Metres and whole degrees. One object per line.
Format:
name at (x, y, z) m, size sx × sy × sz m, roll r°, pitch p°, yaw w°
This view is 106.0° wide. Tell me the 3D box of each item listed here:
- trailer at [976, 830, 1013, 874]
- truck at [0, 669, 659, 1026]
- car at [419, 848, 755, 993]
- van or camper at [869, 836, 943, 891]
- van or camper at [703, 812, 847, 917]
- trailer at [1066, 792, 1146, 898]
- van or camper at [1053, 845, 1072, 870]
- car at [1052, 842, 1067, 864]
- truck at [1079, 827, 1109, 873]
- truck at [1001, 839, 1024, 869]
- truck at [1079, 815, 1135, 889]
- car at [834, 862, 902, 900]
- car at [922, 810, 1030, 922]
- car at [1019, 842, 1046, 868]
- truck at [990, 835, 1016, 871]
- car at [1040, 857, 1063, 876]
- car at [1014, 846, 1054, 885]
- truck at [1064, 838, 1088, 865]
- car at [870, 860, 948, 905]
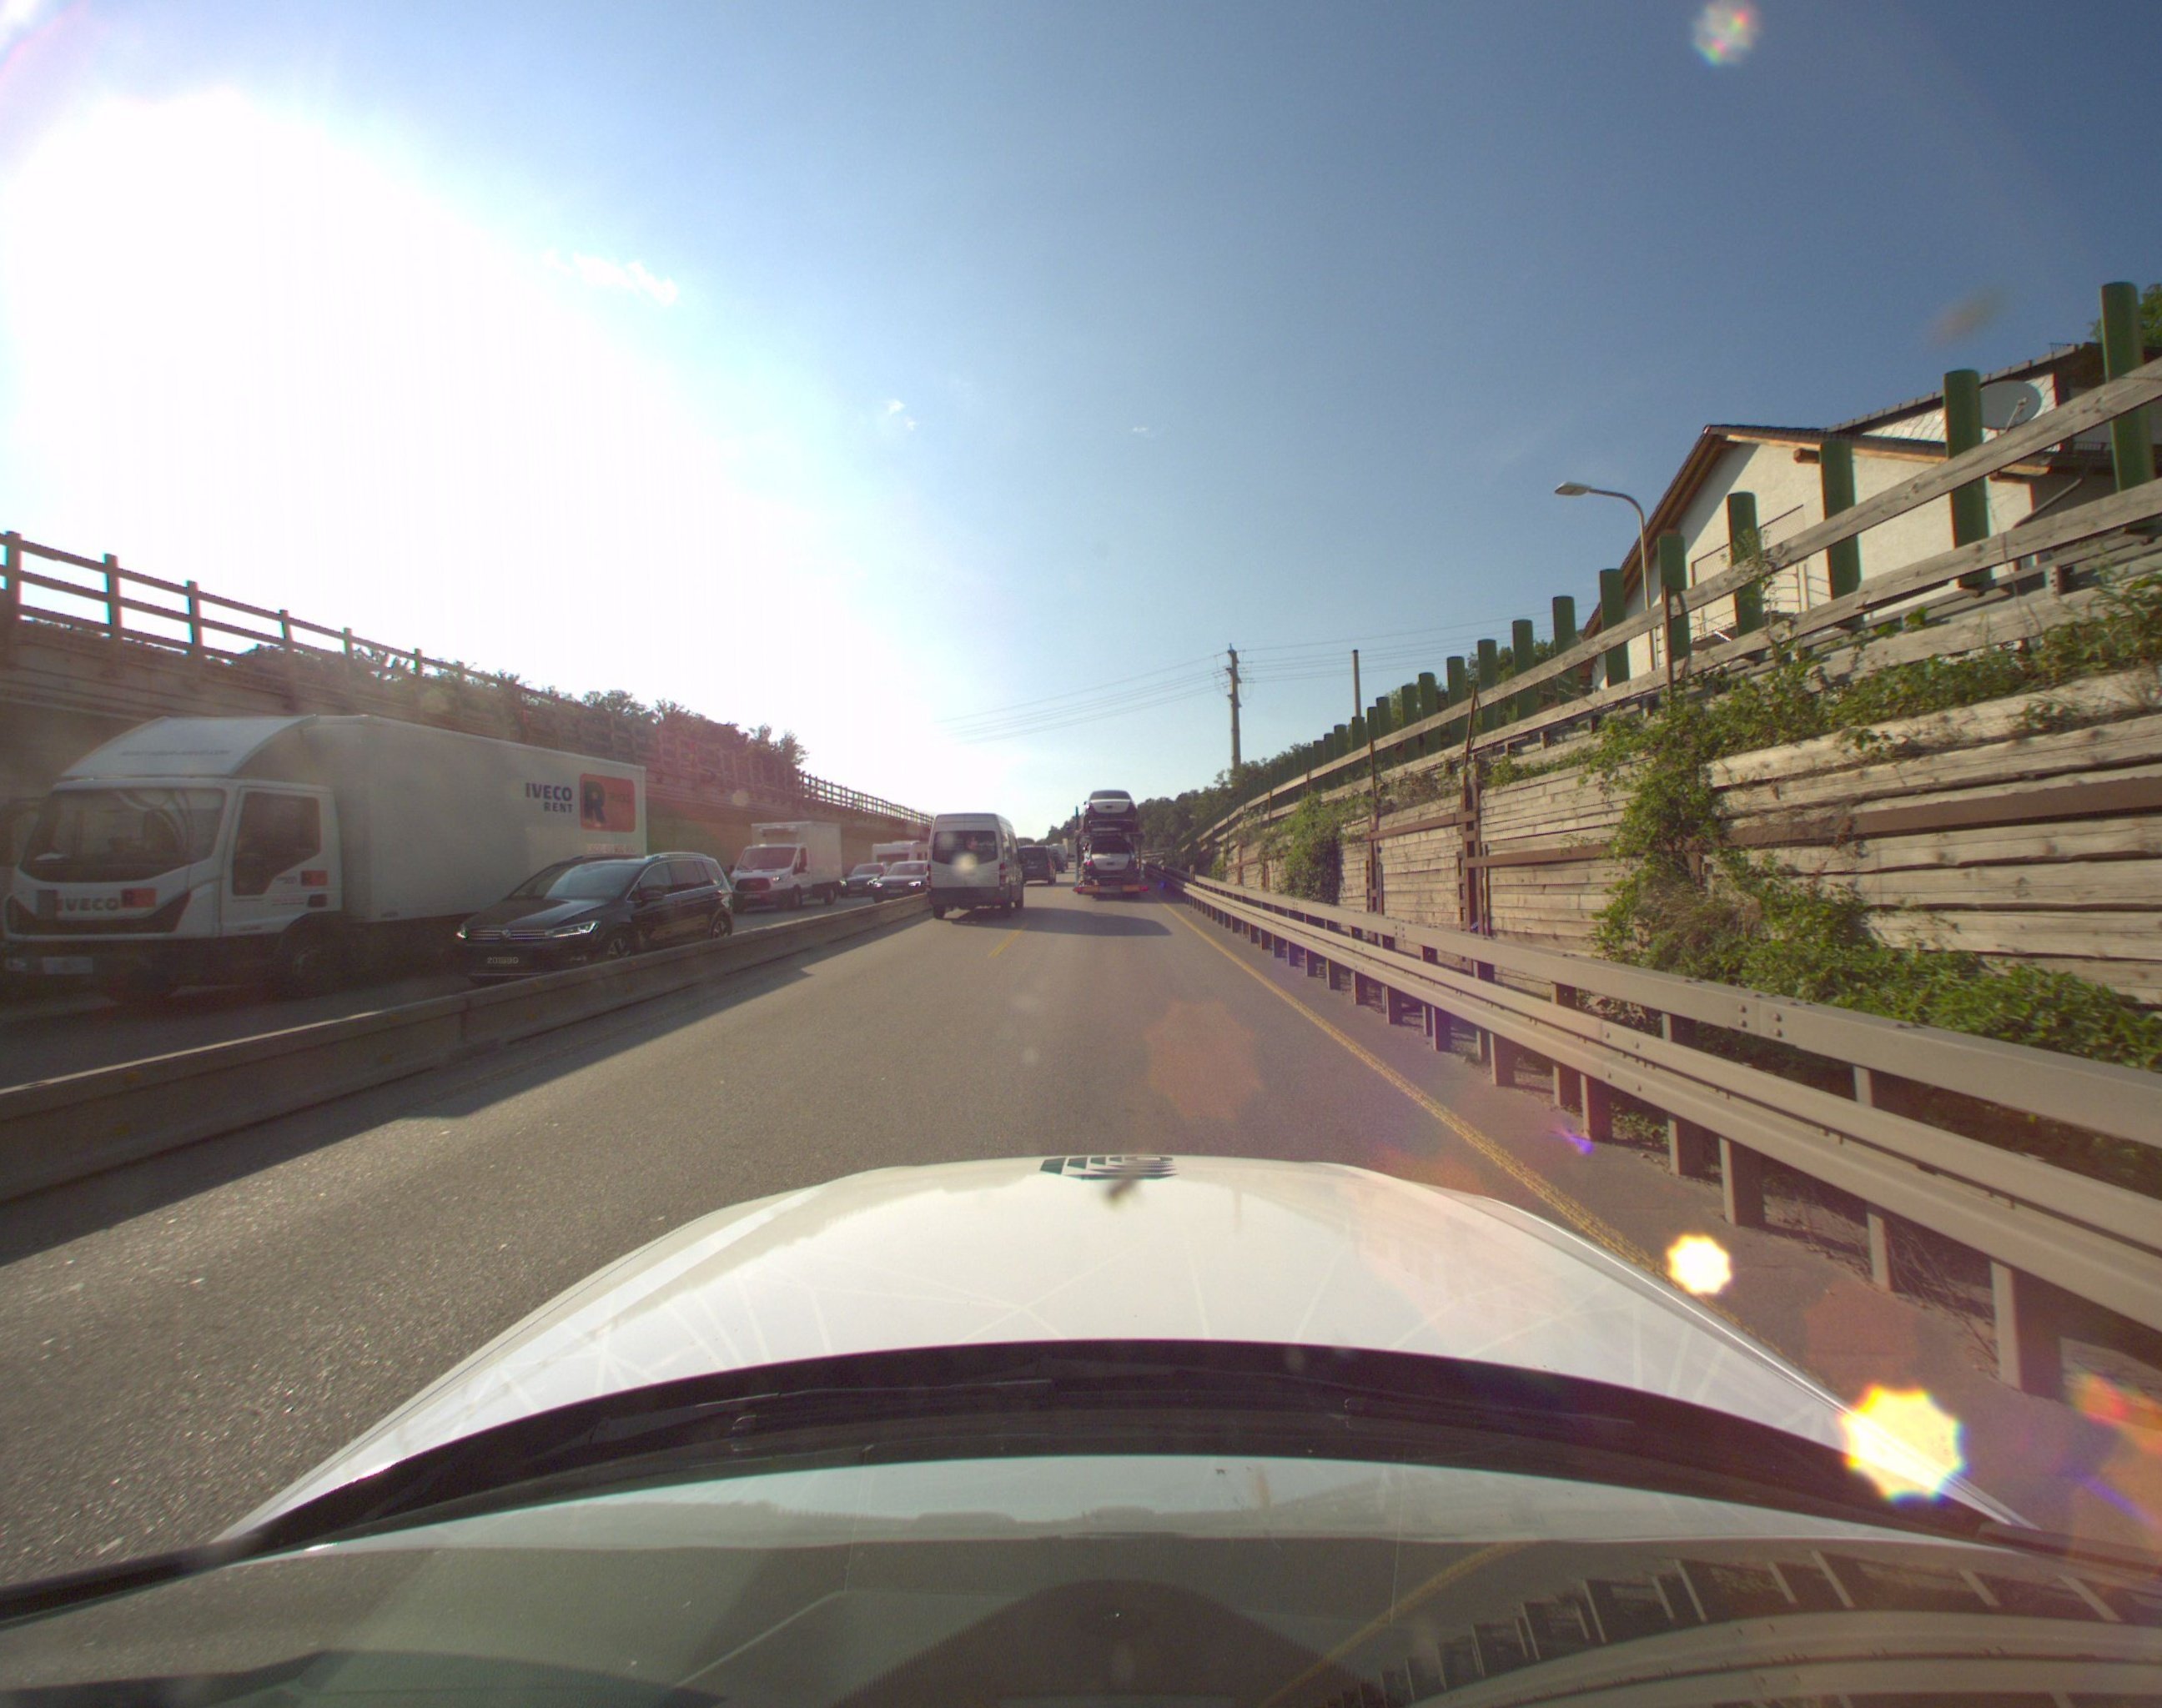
trailer at (-8.972, -0.212, 85.458) m, size 2.597 × 4.112 × 9.626 m, roll -4°, pitch 0°, yaw 0°
truck at (-9.884, 0.017, 12.125) m, size 2.705 × 3.424 × 8.141 m, roll -3°, pitch -1°, yaw 1°
car at (-6.592, 0.807, 11.669) m, size 1.825 × 1.645 × 4.690 m, roll 0°, pitch -1°, yaw 1°
van or camper at (-9.374, 0.483, 44.297) m, size 2.303 × 2.663 × 6.457 m, roll -2°, pitch 0°, yaw 2°
van or camper at (-9.883, 0.367, 27.018) m, size 2.312 × 2.989 × 6.223 m, roll -2°, pitch -1°, yaw 0°
trailer at (1.126, -0.168, 34.855) m, size 2.672 × 3.535 × 15.295 m, roll 0°, pitch -1°, yaw 2°
van or camper at (-2.010, 0.369, 86.854) m, size 1.963 × 2.592 × 5.038 m, roll 0°, pitch -1°, yaw -2°
car at (-5.111, -0.162, 190.557) m, size 3.436 × 5.035 × 9.645 m, roll 0°, pitch 0°, yaw -2°
truck at (1.292, -0.385, 85.329) m, size 2.899 × 4.607 × 7.282 m, roll -1°, pitch -1°, yaw -1°
truck at (-9.891, 0.020, 118.064) m, size 2.974 × 4.153 × 7.387 m, roll 0°, pitch -1°, yaw -2°
truck at (1.390, -0.016, 42.420) m, size 2.672 × 3.535 × 7.196 m, roll 0°, pitch -1°, yaw 2°
car at (-9.567, 1.175, 36.936) m, size 1.635 × 1.531 × 4.785 m, roll -2°, pitch -1°, yaw 1°
car at (-2.692, 0.292, 22.218) m, size 1.986 × 2.648 × 5.533 m, roll -1°, pitch 0°, yaw 2°
car at (-4.958, 0.145, 83.868) m, size 2.463 × 2.534 × 4.001 m, roll -1°, pitch -1°, yaw 1°
truck at (-9.339, -0.087, 97.666) m, size 2.703 × 4.093 × 6.198 m, roll 0°, pitch -1°, yaw -2°
car at (-2.401, 1.022, 66.707) m, size 1.719 × 1.522 × 3.973 m, roll 0°, pitch 0°, yaw 1°
car at (-2.413, 0.634, 42.293) m, size 1.802 × 1.904 × 3.999 m, roll 0°, pitch -2°, yaw 0°
truck at (-0.932, -0.432, 145.556) m, size 4.053 × 4.679 × 10.587 m, roll -1°, pitch 0°, yaw -1°
car at (-6.069, 0.947, 29.277) m, size 1.758 × 1.450 × 4.459 m, roll 0°, pitch 0°, yaw 1°
